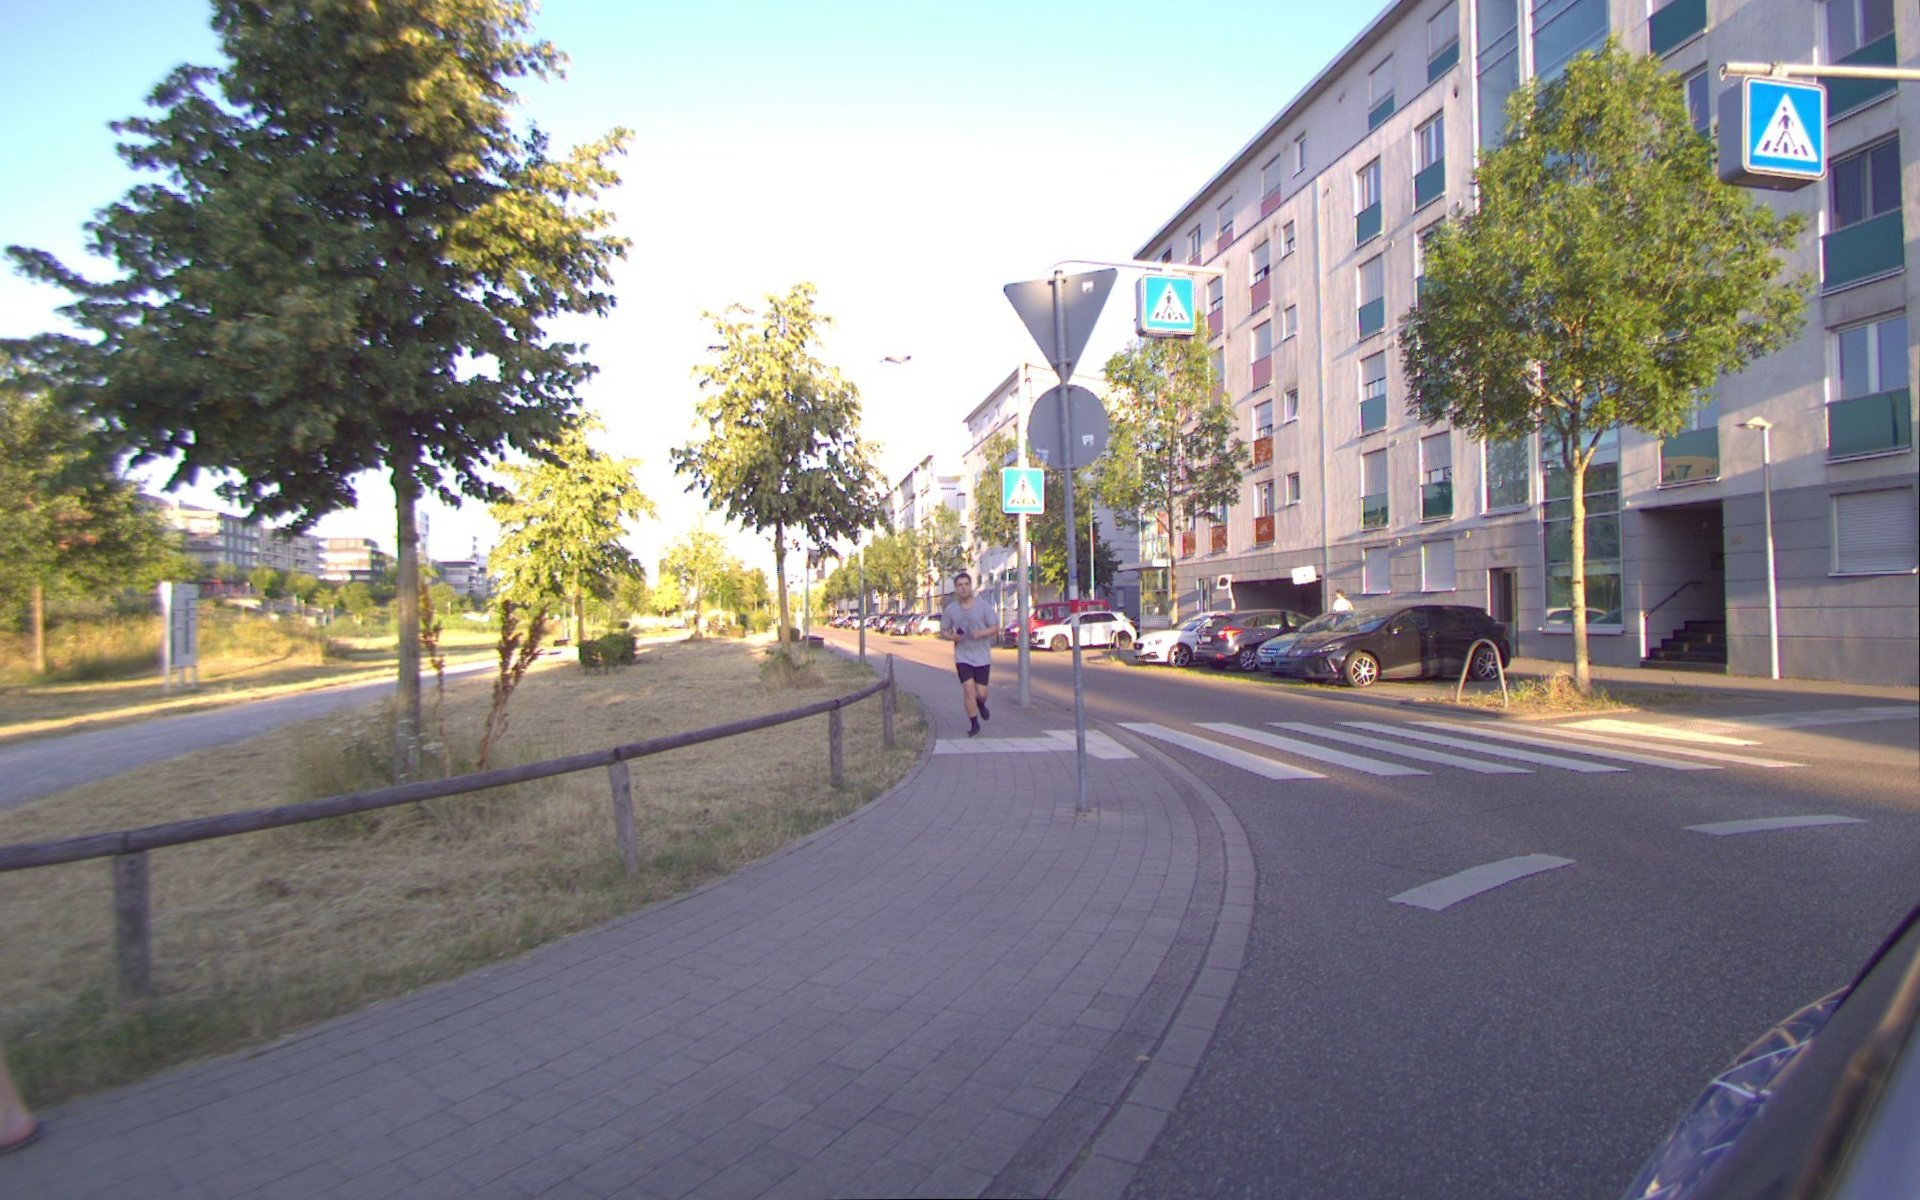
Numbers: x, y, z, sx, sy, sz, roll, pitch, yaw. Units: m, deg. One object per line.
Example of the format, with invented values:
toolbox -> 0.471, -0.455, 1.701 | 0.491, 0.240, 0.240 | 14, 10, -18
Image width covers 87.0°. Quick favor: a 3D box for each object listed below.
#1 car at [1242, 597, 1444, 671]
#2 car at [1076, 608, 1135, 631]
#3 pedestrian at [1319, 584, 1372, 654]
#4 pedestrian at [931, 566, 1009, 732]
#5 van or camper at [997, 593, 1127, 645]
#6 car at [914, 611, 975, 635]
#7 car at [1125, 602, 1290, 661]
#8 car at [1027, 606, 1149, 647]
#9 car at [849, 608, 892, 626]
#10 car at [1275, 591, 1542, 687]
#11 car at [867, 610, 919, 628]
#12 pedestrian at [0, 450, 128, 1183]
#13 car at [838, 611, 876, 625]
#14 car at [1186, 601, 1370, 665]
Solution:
car -> 8.483, 0.735, 22.524 | 3.923, 1.391, 1.562 | -3, -1, -13
car -> 9.304, 1.241, 64.926 | 1.586, 1.487, 3.518 | 1, -1, -44
pedestrian -> 10.804, 0.536, 28.429 | 0.959, 1.918, 1.051 | 0, -1, -11
pedestrian -> 0.100, 0.527, 11.131 | 0.752, 1.752, 0.803 | 0, -1, -7
van or camper -> 4.237, 0.788, 42.160 | 5.024, 2.086, 1.881 | 0, -1, -13
car -> -1.107, 1.546, 69.522 | 3.873, 1.613, 1.782 | 0, -1, -15
car -> 6.637, 0.828, 27.281 | 3.971, 1.499, 1.704 | 0, -1, -13
car -> 4.927, 1.017, 39.190 | 4.373, 1.540, 1.704 | 0, -1, -13
car -> -9.631, 1.842, 109.331 | 4.320, 1.862, 1.955 | 0, -1, -16
car -> 8.560, 0.703, 19.429 | 4.388, 1.506, 1.836 | -3, 0, -13
car -> -5.915, 1.671, 89.218 | 4.320, 1.613, 1.955 | 0, -1, -14
pedestrian -> -2.781, 0.536, 2.551 | 0.785, 1.807, 0.735 | 0, -1, -13
car -> -12.596, 2.212, 123.207 | 4.320, 1.749, 1.955 | 0, -1, -16
car -> 7.746, 0.788, 24.759 | 3.971, 1.499, 1.704 | 0, -1, -13
